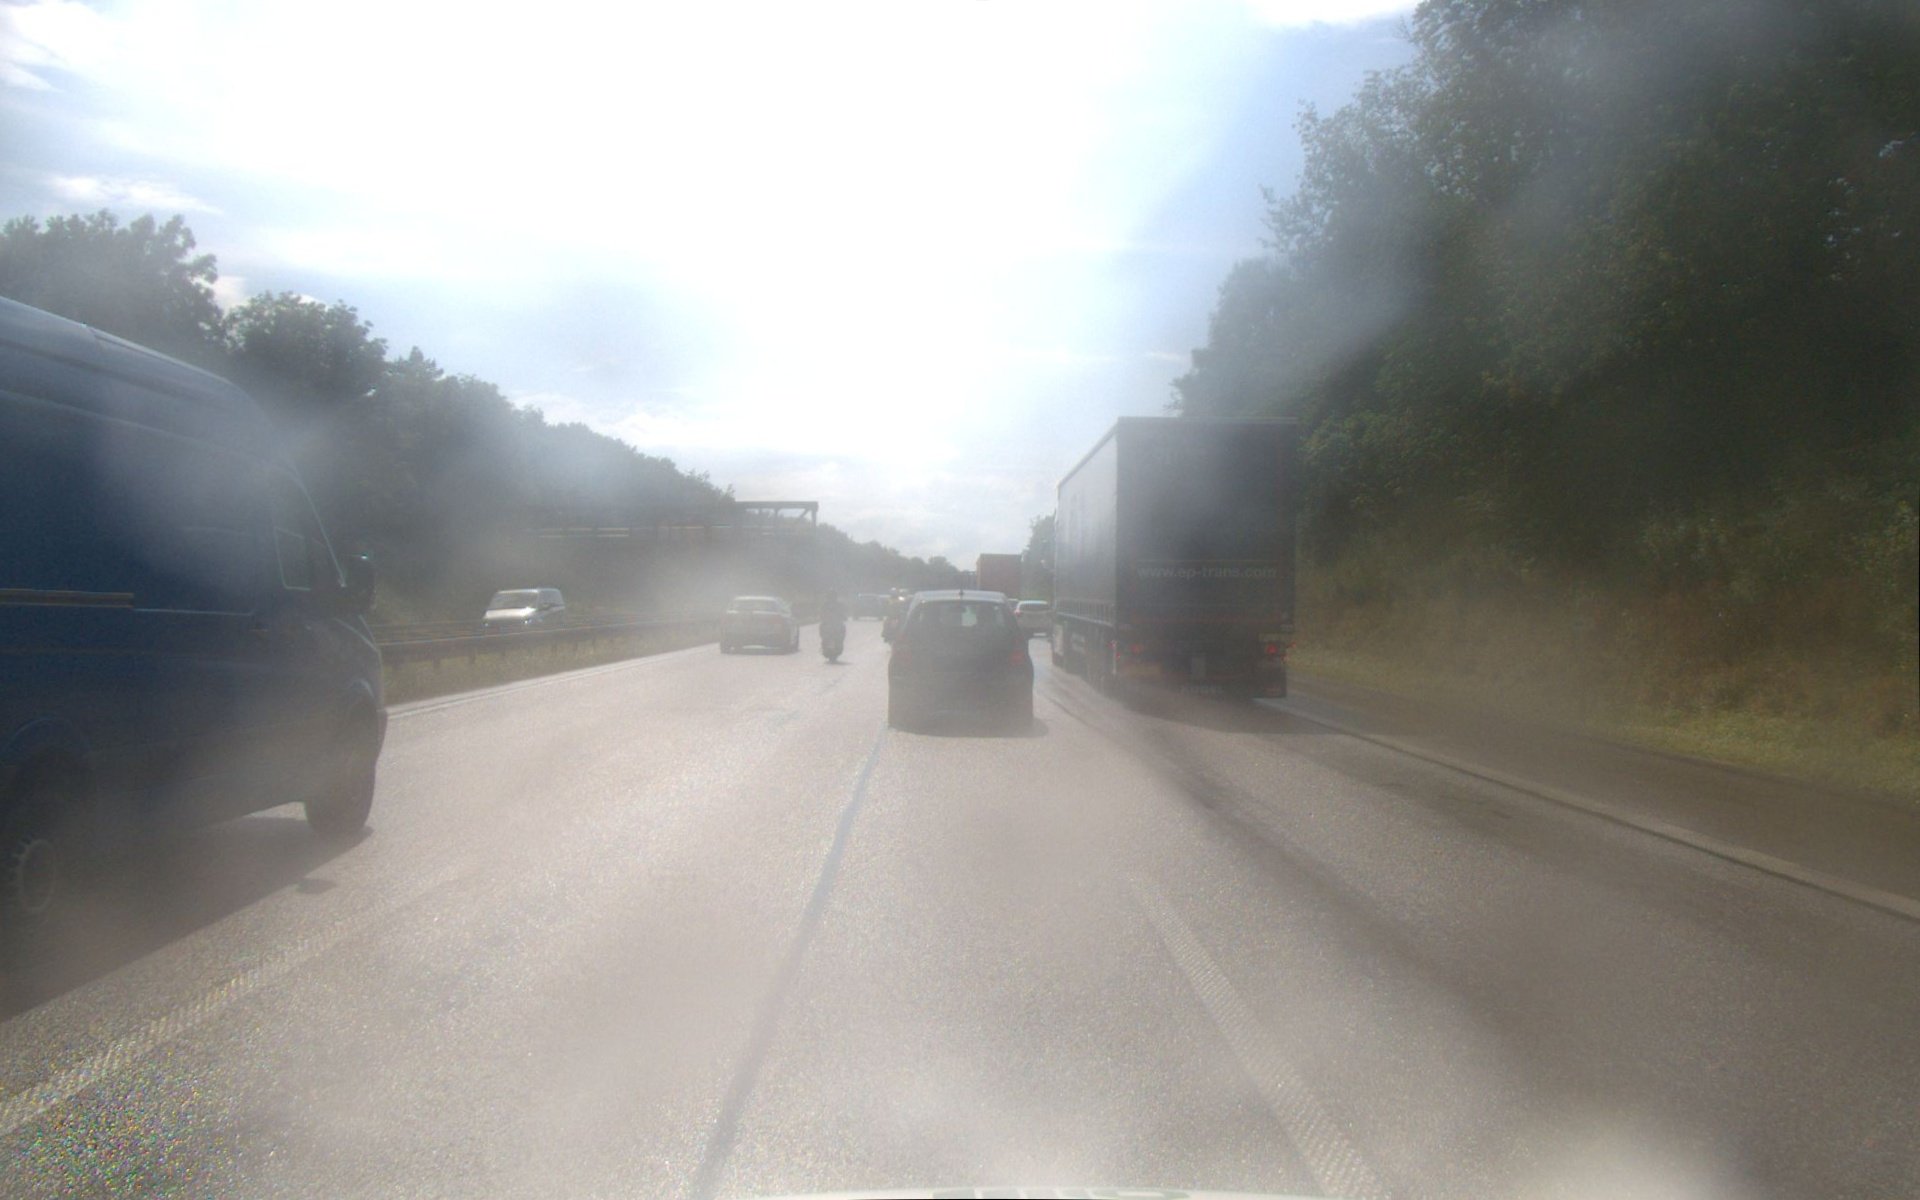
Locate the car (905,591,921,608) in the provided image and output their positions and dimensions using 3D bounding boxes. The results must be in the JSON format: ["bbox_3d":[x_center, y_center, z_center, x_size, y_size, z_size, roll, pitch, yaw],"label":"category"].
[{"bbox_3d":[-5.807,0.001,204.953,1.953,2.049,3.999,1,0,-1],"label":"car"}]

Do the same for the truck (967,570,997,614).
[{"bbox_3d":[2.374,-0.818,183.261,2.823,4.769,12.655,1,0,-1],"label":"truck"}]

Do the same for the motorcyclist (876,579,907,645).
[{"bbox_3d":[-1.909,0.331,46.160,0.805,1.791,1.390,1,-1,-2],"label":"motorcyclist"}]

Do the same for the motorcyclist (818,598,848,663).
[{"bbox_3d":[-2.905,0.701,37.950,0.657,1.467,1.019,1,-1,-4],"label":"motorcyclist"}]

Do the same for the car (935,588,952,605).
[{"bbox_3d":[-1.559,-0.296,154.083,1.599,1.516,3.435,1,0,-1],"label":"car"}]

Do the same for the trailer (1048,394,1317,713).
[{"bbox_3d":[3.445,-0.638,29.896,3.025,4.388,14.105,1,0,0],"label":"trailer"}]

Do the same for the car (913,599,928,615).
[{"bbox_3d":[-5.387,0.965,226.878,1.953,2.049,3.999,1,0,-1],"label":"car"}]

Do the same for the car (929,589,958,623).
[{"bbox_3d":[-1.003,0.329,98.391,1.641,1.970,3.772,1,0,-1],"label":"car"}]

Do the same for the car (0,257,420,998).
[{"bbox_3d":[-4.520,0.095,8.042,1.975,2.695,5.775,1,0,-1],"label":"car"}]

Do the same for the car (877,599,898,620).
[{"bbox_3d":[-5.947,0.775,136.094,1.641,1.625,3.435,1,0,-1],"label":"car"}]

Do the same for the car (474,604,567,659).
[{"bbox_3d":[-14.643,1.018,55.369,1.870,1.708,4.967,-1,0,-1],"label":"car"}]

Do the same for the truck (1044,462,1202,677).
[{"bbox_3d":[3.511,-0.626,37.149,2.989,4.400,5.886,1,0,1],"label":"truck"}]

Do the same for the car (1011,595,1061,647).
[{"bbox_3d":[3.073,0.839,67.470,1.811,2.049,4.086,1,0,-1],"label":"car"}]

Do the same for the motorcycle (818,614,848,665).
[{"bbox_3d":[-2.904,0.899,37.969,0.662,1.106,1.980,1,0,-4],"label":"motorcycle"}]

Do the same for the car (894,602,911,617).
[{"bbox_3d":[-5.649,0.915,162.523,1.641,1.516,3.435,1,0,-1],"label":"car"}]

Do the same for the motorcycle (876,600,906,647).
[{"bbox_3d":[-1.913,0.643,46.179,0.803,1.285,2.117,1,0,-2],"label":"motorcycle"}]

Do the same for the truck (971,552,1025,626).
[{"bbox_3d":[2.359,-0.684,105.917,3.137,4.481,9.431,1,0,0],"label":"truck"}]

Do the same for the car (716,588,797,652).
[{"bbox_3d":[-5.441,0.523,44.630,1.723,1.622,4.329,1,0,-1],"label":"car"}]

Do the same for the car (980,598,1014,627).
[{"bbox_3d":[1.930,0.639,87.644,1.641,1.516,3.435,1,0,-1],"label":"car"}]

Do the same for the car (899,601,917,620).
[{"bbox_3d":[-5.891,1.195,188.627,1.953,2.049,3.999,1,0,-1],"label":"car"}]

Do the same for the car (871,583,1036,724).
[{"bbox_3d":[-0.117,0.616,21.000,1.876,1.592,4.312,1,0,-1],"label":"car"}]

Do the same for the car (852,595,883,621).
[{"bbox_3d":[-5.901,0.500,106.183,1.854,1.656,4.194,1,0,-1],"label":"car"}]
